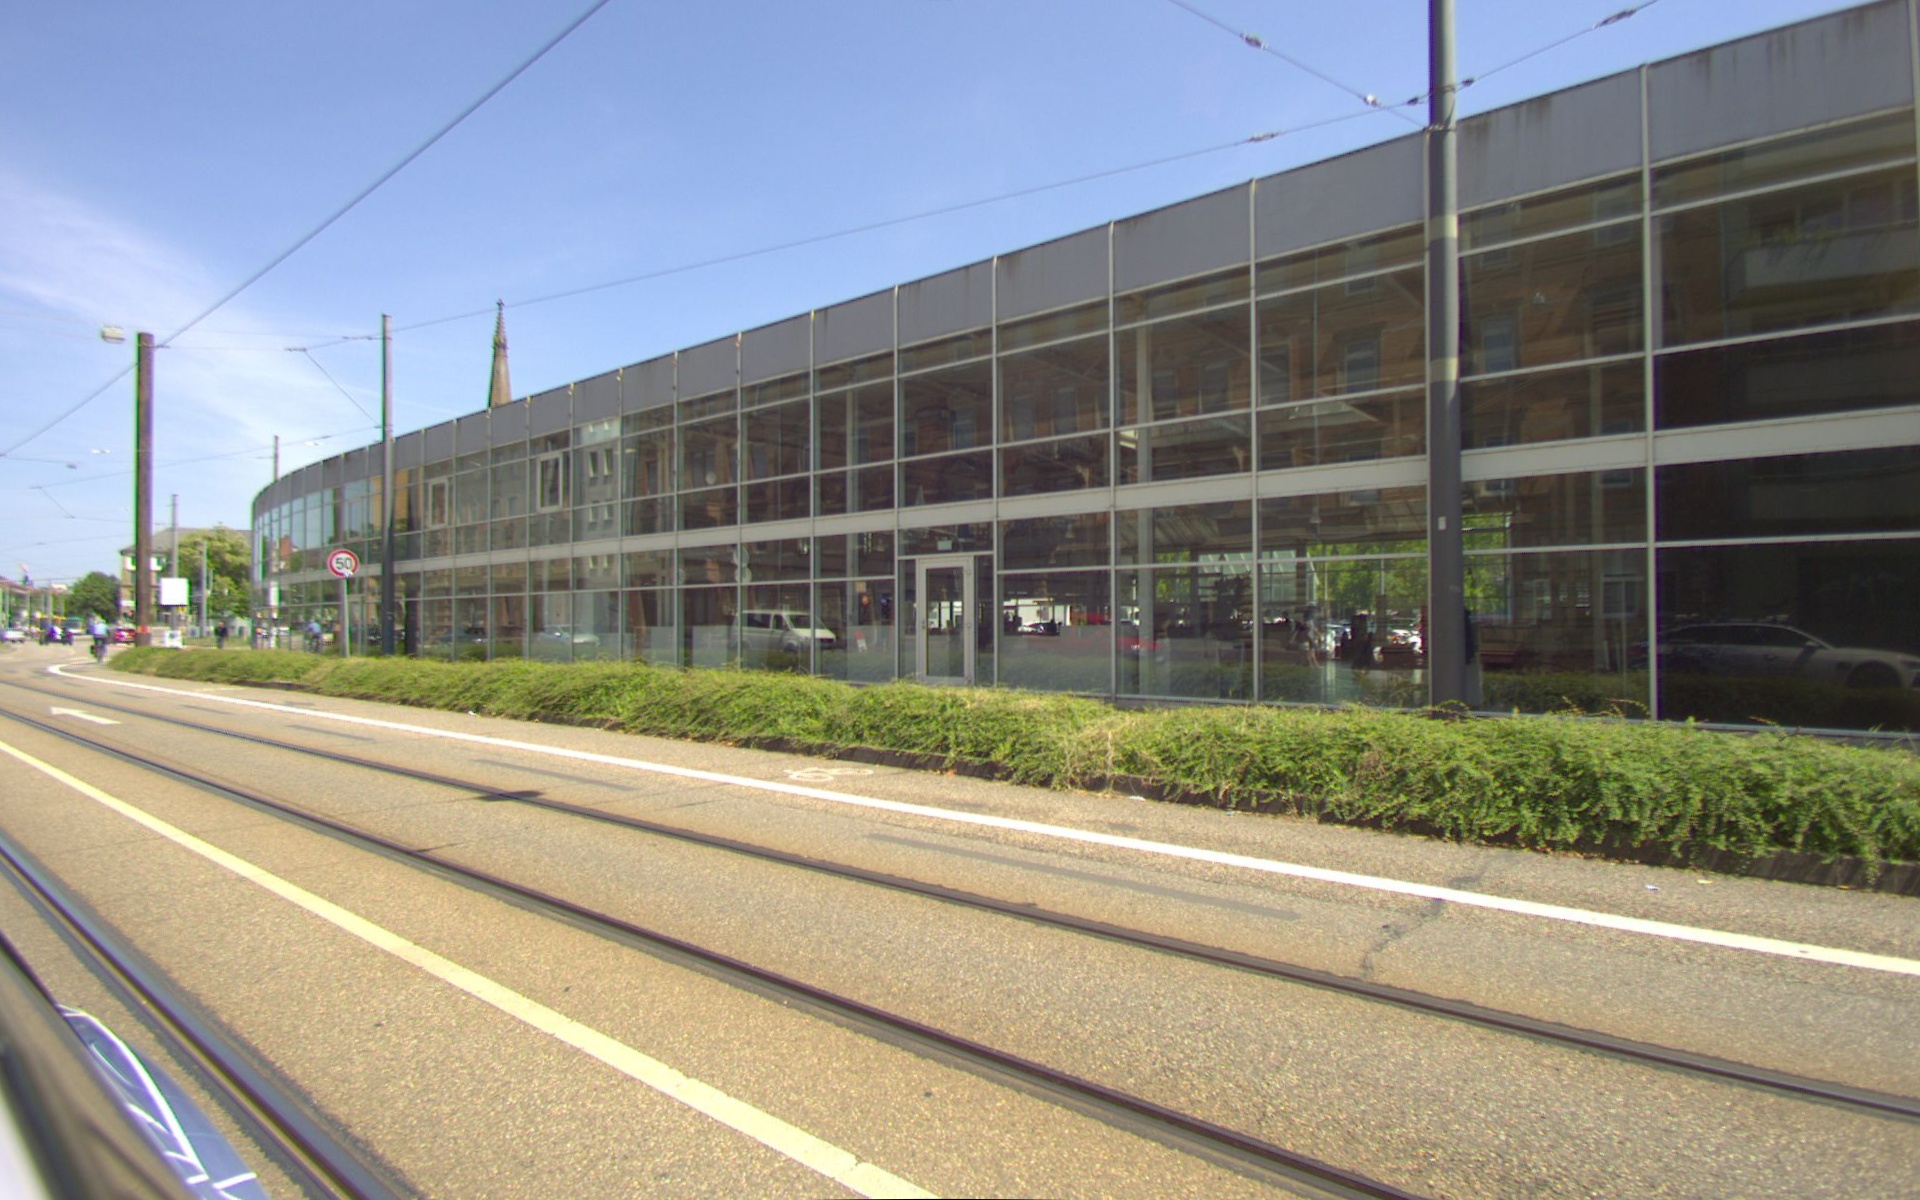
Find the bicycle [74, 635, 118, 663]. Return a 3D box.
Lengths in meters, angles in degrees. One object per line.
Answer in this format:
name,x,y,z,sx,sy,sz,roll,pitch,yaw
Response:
bicycle,-36.835,2.087,43.173,0.688,1.153,2.503,1,-2,-23

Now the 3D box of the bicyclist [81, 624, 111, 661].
bicyclist,-36.936,1.797,43.284,0.688,1.560,0.983,1,-2,-22

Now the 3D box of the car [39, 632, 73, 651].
car,-78.557,3.621,87.934,4.526,1.639,1.802,-2,-3,44

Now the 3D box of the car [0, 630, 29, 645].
car,-95.559,3.771,101.911,5.128,1.542,1.973,-1,-4,41

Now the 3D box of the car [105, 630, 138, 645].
car,-77.541,3.443,93.560,4.287,1.377,1.739,-2,-2,42

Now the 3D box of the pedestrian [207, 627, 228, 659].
pedestrian,-39.111,2.257,53.316,0.820,1.654,0.719,-2,-3,44
